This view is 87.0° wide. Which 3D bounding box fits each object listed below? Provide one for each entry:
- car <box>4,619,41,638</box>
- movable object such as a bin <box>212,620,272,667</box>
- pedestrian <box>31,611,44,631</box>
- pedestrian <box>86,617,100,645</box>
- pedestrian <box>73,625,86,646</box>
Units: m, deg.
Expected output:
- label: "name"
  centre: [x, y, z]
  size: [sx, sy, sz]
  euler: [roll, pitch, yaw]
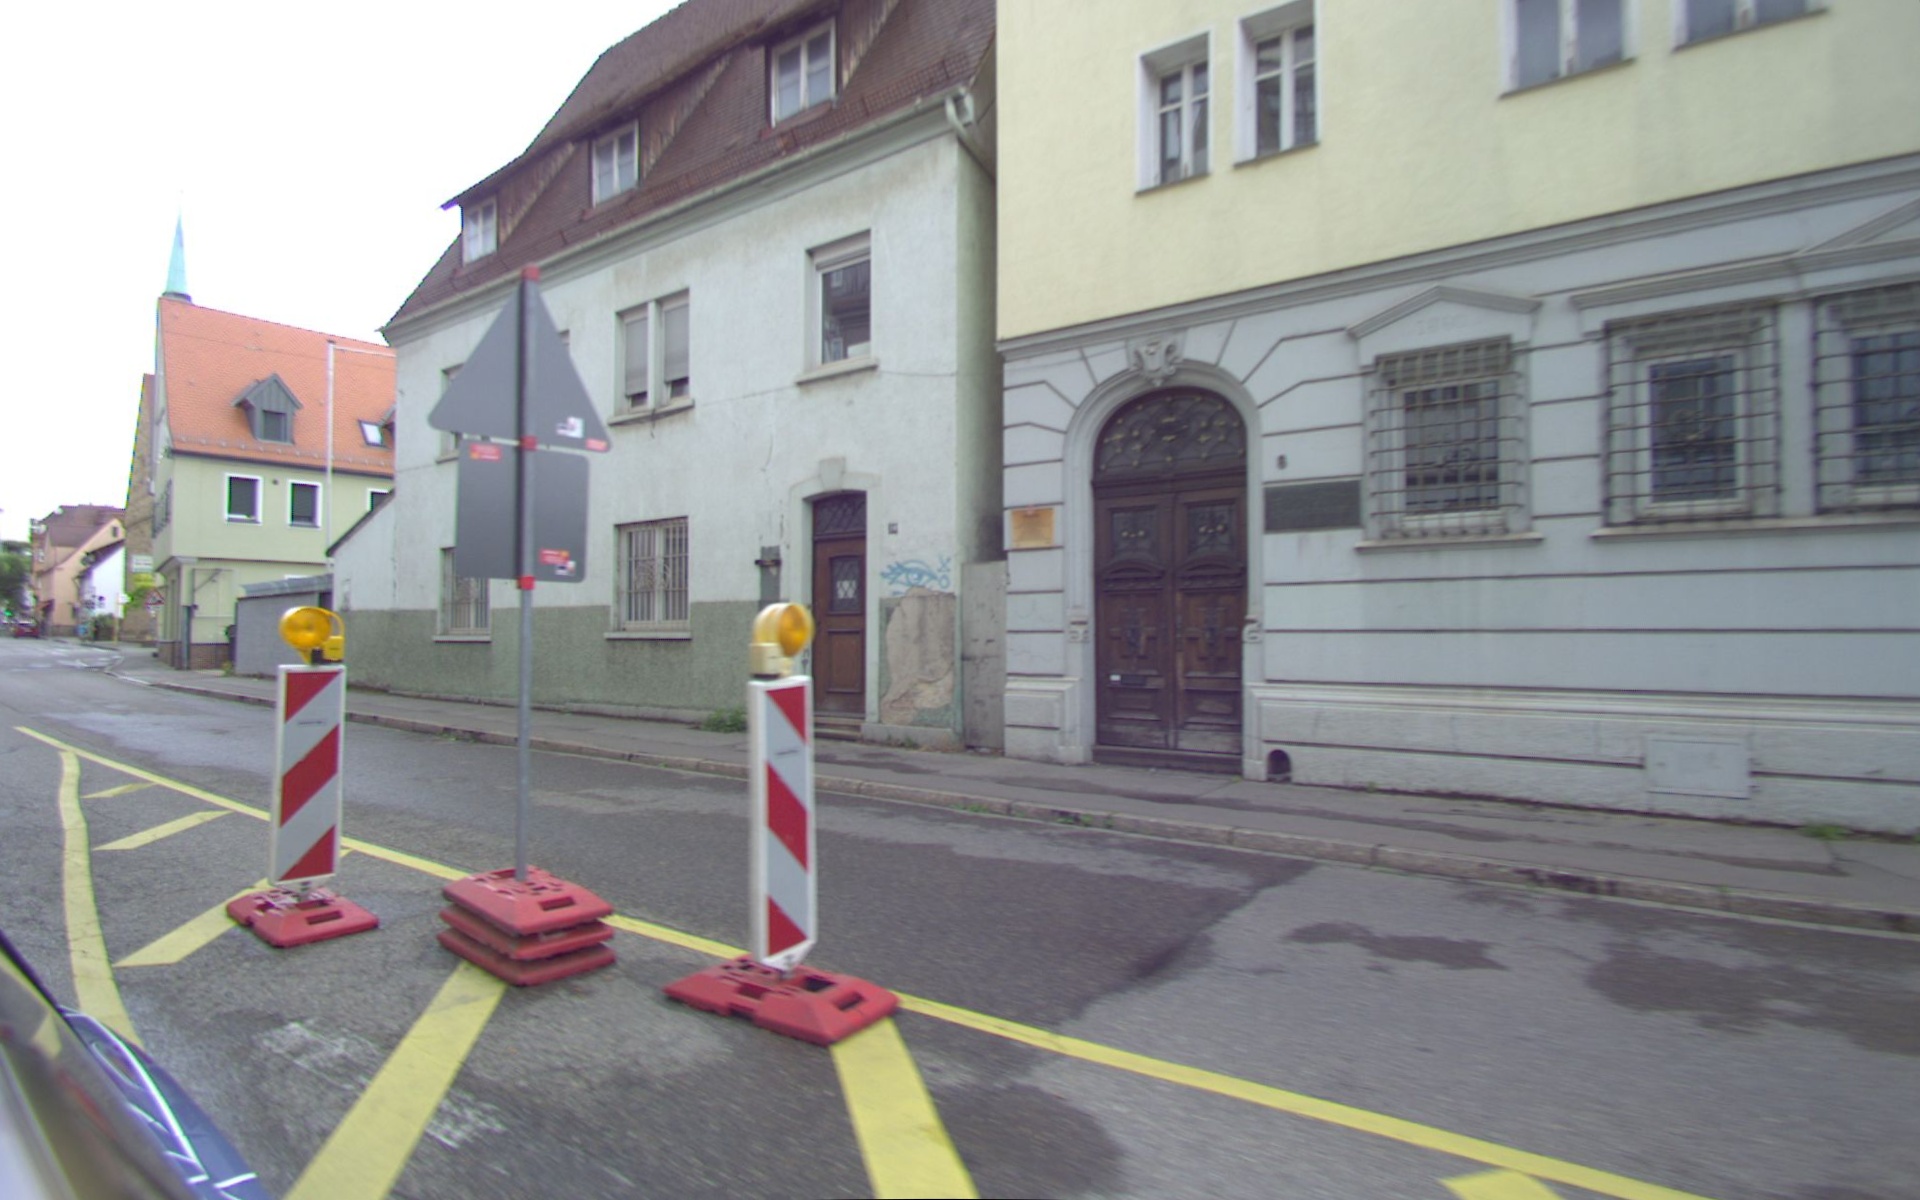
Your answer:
- label: "car"
  centre: [-88.702, 2.693, 95.740]
  size: [4.499, 1.690, 2.183]
  euler: [-1, -3, 43]
- label: "movable object such as a bin"
  centre: [-23.337, 1.394, 32.896]
  size: [1.098, 1.487, 1.296]
  euler: [-1, -2, 35]
- label: "pedestrian"
  centre: [-94.274, 2.138, 103.420]
  size: [0.845, 2.029, 0.825]
  euler: [-2, -3, 42]
- label: "pedestrian"
  centre: [-67.438, 2.400, 78.741]
  size: [0.783, 2.137, 0.748]
  euler: [-2, 0, 44]
- label: "pedestrian"
  centre: [-68.034, 2.749, 78.178]
  size: [0.712, 1.618, 0.628]
  euler: [-1, -3, 44]
